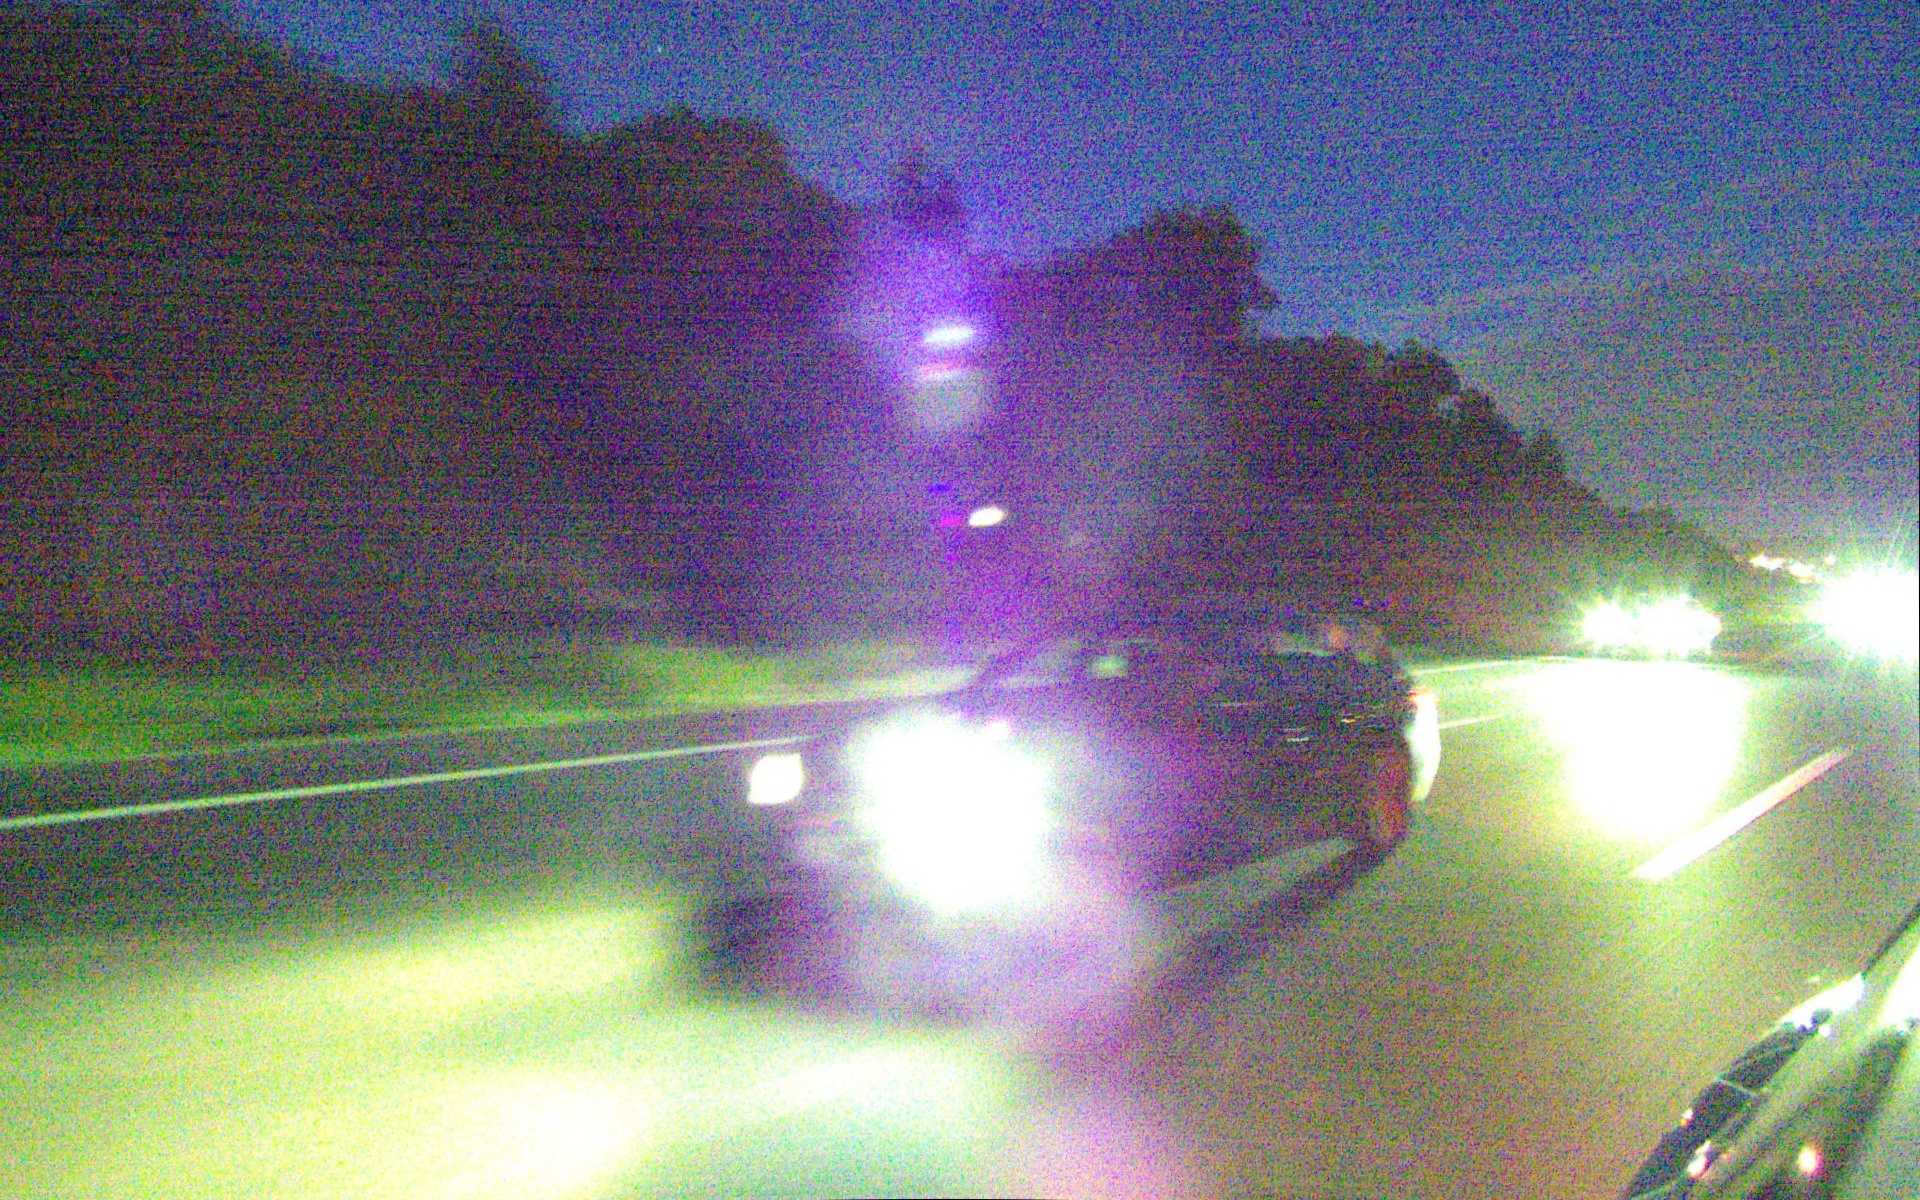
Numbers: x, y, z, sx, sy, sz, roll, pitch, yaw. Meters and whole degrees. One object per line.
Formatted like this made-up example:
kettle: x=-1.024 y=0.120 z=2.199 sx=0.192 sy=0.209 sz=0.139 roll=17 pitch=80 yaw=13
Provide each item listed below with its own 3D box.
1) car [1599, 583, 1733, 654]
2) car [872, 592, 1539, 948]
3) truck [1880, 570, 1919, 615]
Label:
car: x=19.206 y=0.447 z=27.437 sx=5.081 sy=1.739 sz=1.995 roll=0 pitch=0 yaw=-43
car: x=1.935 y=0.675 z=6.473 sx=4.986 sy=1.419 sz=1.836 roll=0 pitch=0 yaw=-45
truck: x=96.367 y=-0.753 z=103.386 sx=3.335 sy=4.489 sz=6.888 roll=0 pitch=0 yaw=42
